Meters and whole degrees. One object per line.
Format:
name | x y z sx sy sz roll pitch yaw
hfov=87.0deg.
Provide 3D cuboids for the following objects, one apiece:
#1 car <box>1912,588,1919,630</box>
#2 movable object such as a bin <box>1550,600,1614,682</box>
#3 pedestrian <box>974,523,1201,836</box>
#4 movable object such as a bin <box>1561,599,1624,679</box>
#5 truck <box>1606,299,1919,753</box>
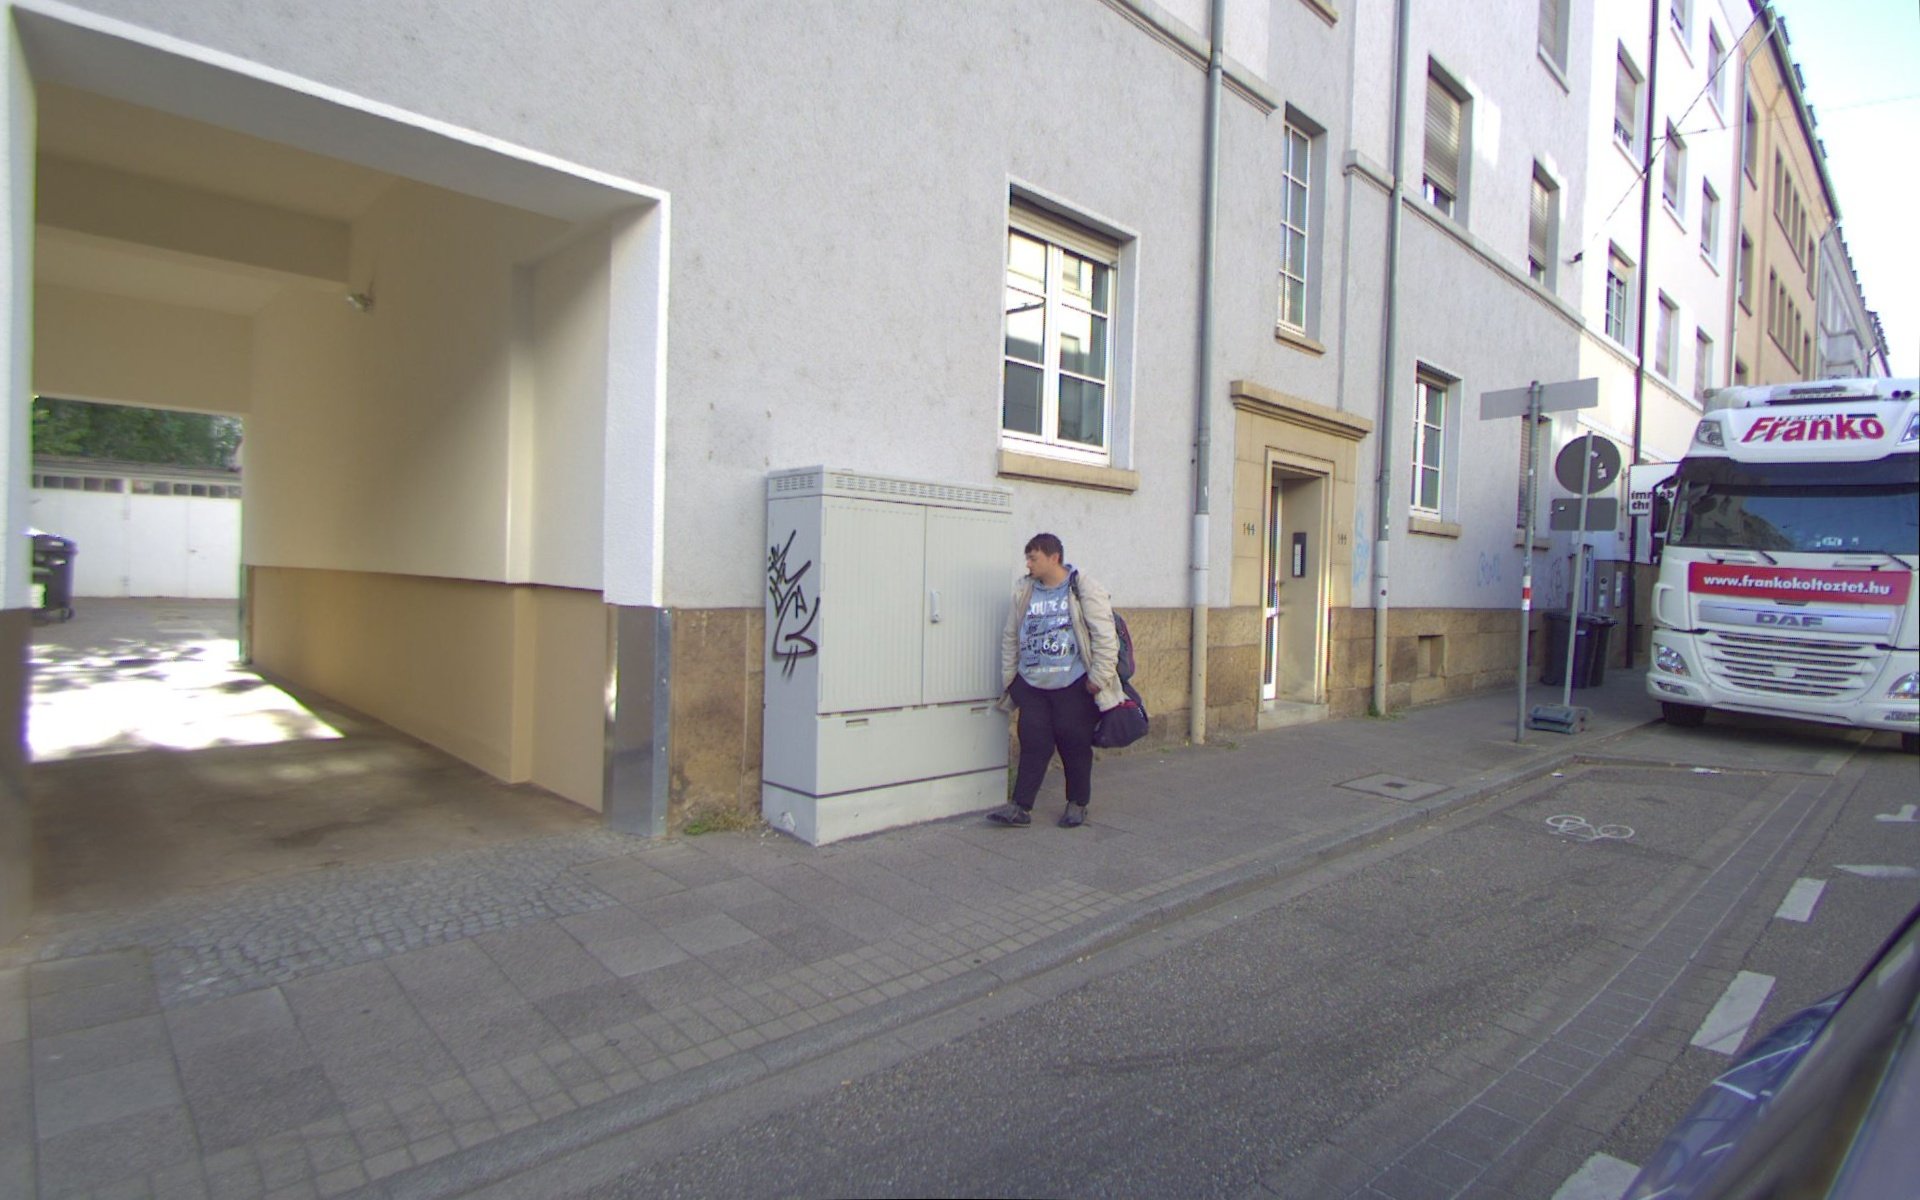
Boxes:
car | 41.950 0.424 43.167 4.514 1.714 1.710 0 3 -44
movable object such as a bin | 8.904 0.568 14.482 0.658 1.118 0.533 2 1 44
pedestrian | 0.704 0.377 5.623 0.854 1.552 0.826 1 3 -43
movable object such as a bin | 9.312 0.564 14.898 0.658 1.118 0.533 2 1 44
truck | 12.288 -0.708 13.883 11.579 4.123 2.864 0 2 -43
